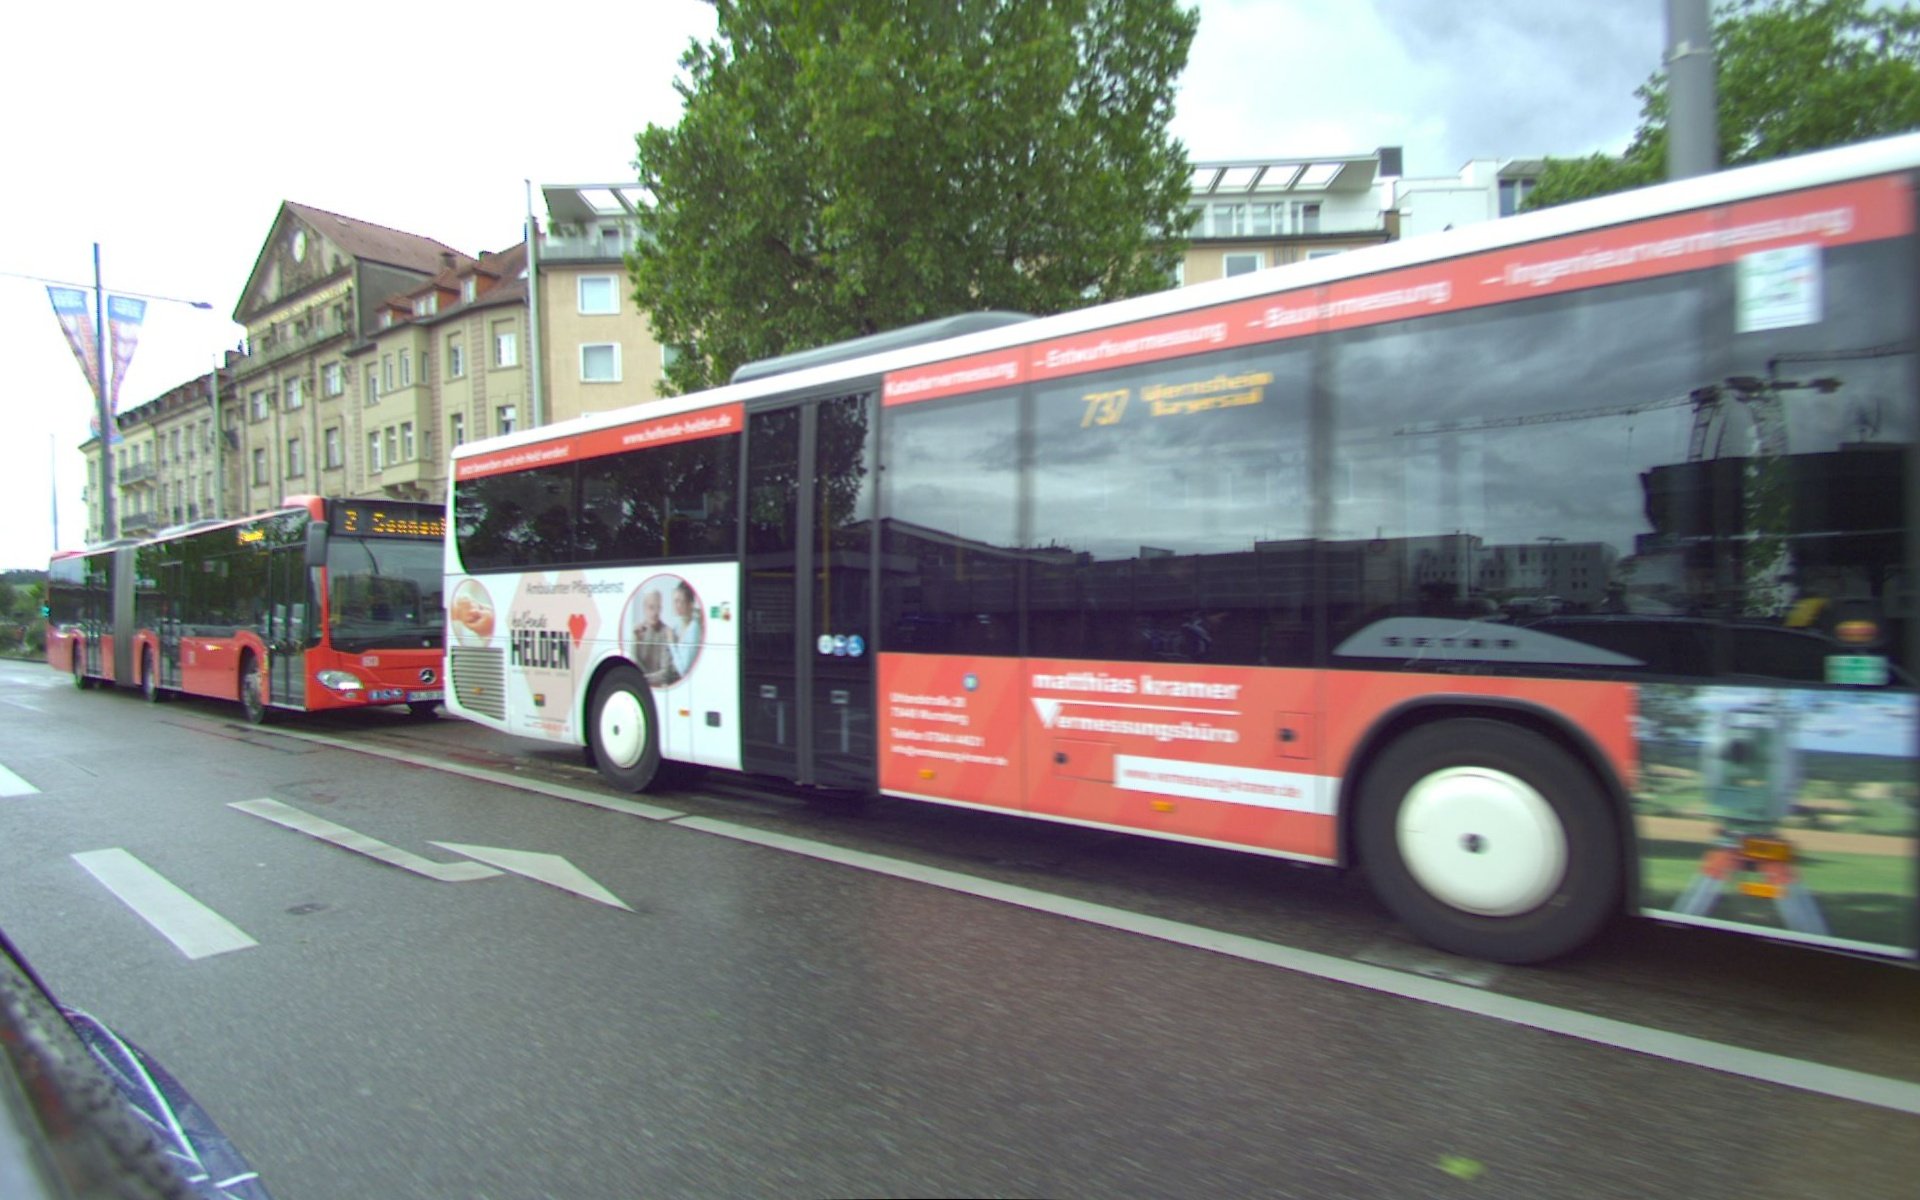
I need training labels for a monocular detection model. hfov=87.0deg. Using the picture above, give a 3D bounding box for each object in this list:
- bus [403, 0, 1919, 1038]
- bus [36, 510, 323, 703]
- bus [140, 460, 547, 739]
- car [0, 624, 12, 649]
[{"bbox_3d":[0.333,-0.306,7.111,12.544,3.465,2.926,-1,-1,39],"label":"bus"},{"bbox_3d":[-16.826,0.196,21.435,9.905,3.270,2.781,-1,-1,40],"label":"bus"},{"bbox_3d":[-9.758,0.075,15.409,8.837,3.156,2.724,-1,-1,41],"label":"bus"},{"bbox_3d":[-65.707,2.471,68.163,4.094,1.693,1.976,-1,-1,36],"label":"car"}]
